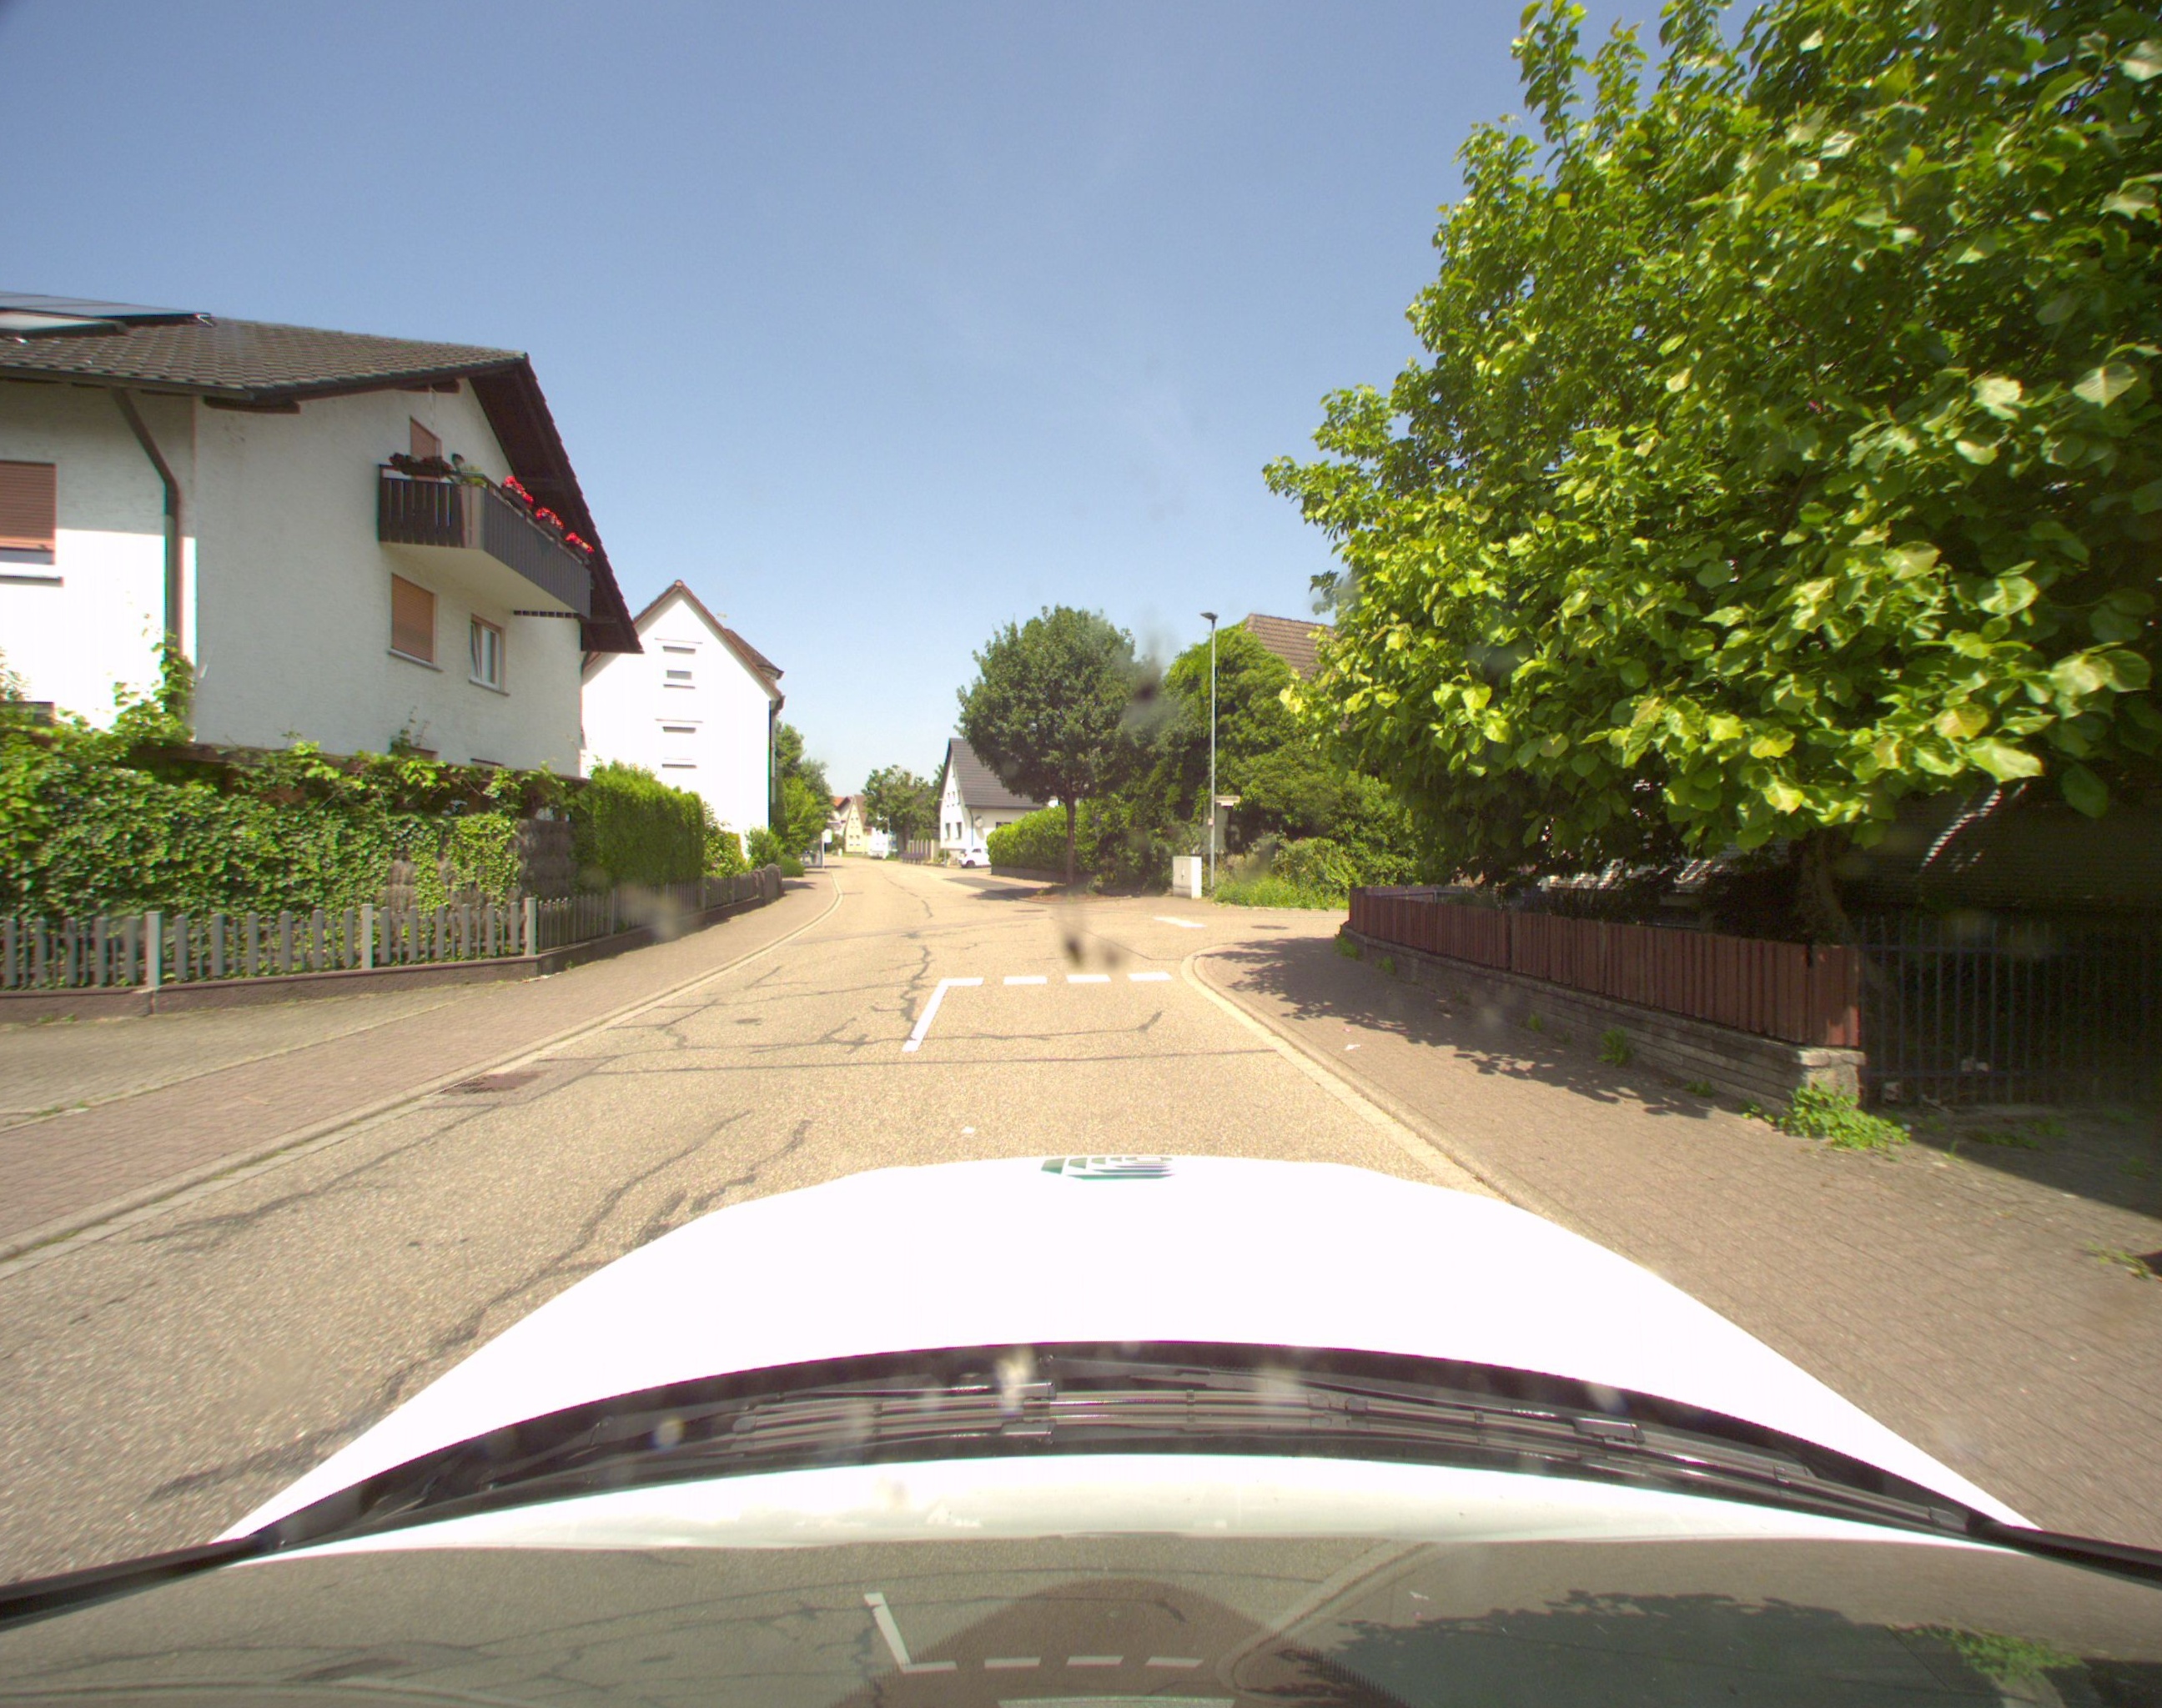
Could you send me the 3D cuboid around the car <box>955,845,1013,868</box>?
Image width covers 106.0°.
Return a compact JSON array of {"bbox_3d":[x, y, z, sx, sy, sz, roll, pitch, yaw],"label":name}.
[{"bbox_3d":[-6.870,0.168,57.529,3.675,1.474,1.751,-2,2,-25],"label":"car"}]
